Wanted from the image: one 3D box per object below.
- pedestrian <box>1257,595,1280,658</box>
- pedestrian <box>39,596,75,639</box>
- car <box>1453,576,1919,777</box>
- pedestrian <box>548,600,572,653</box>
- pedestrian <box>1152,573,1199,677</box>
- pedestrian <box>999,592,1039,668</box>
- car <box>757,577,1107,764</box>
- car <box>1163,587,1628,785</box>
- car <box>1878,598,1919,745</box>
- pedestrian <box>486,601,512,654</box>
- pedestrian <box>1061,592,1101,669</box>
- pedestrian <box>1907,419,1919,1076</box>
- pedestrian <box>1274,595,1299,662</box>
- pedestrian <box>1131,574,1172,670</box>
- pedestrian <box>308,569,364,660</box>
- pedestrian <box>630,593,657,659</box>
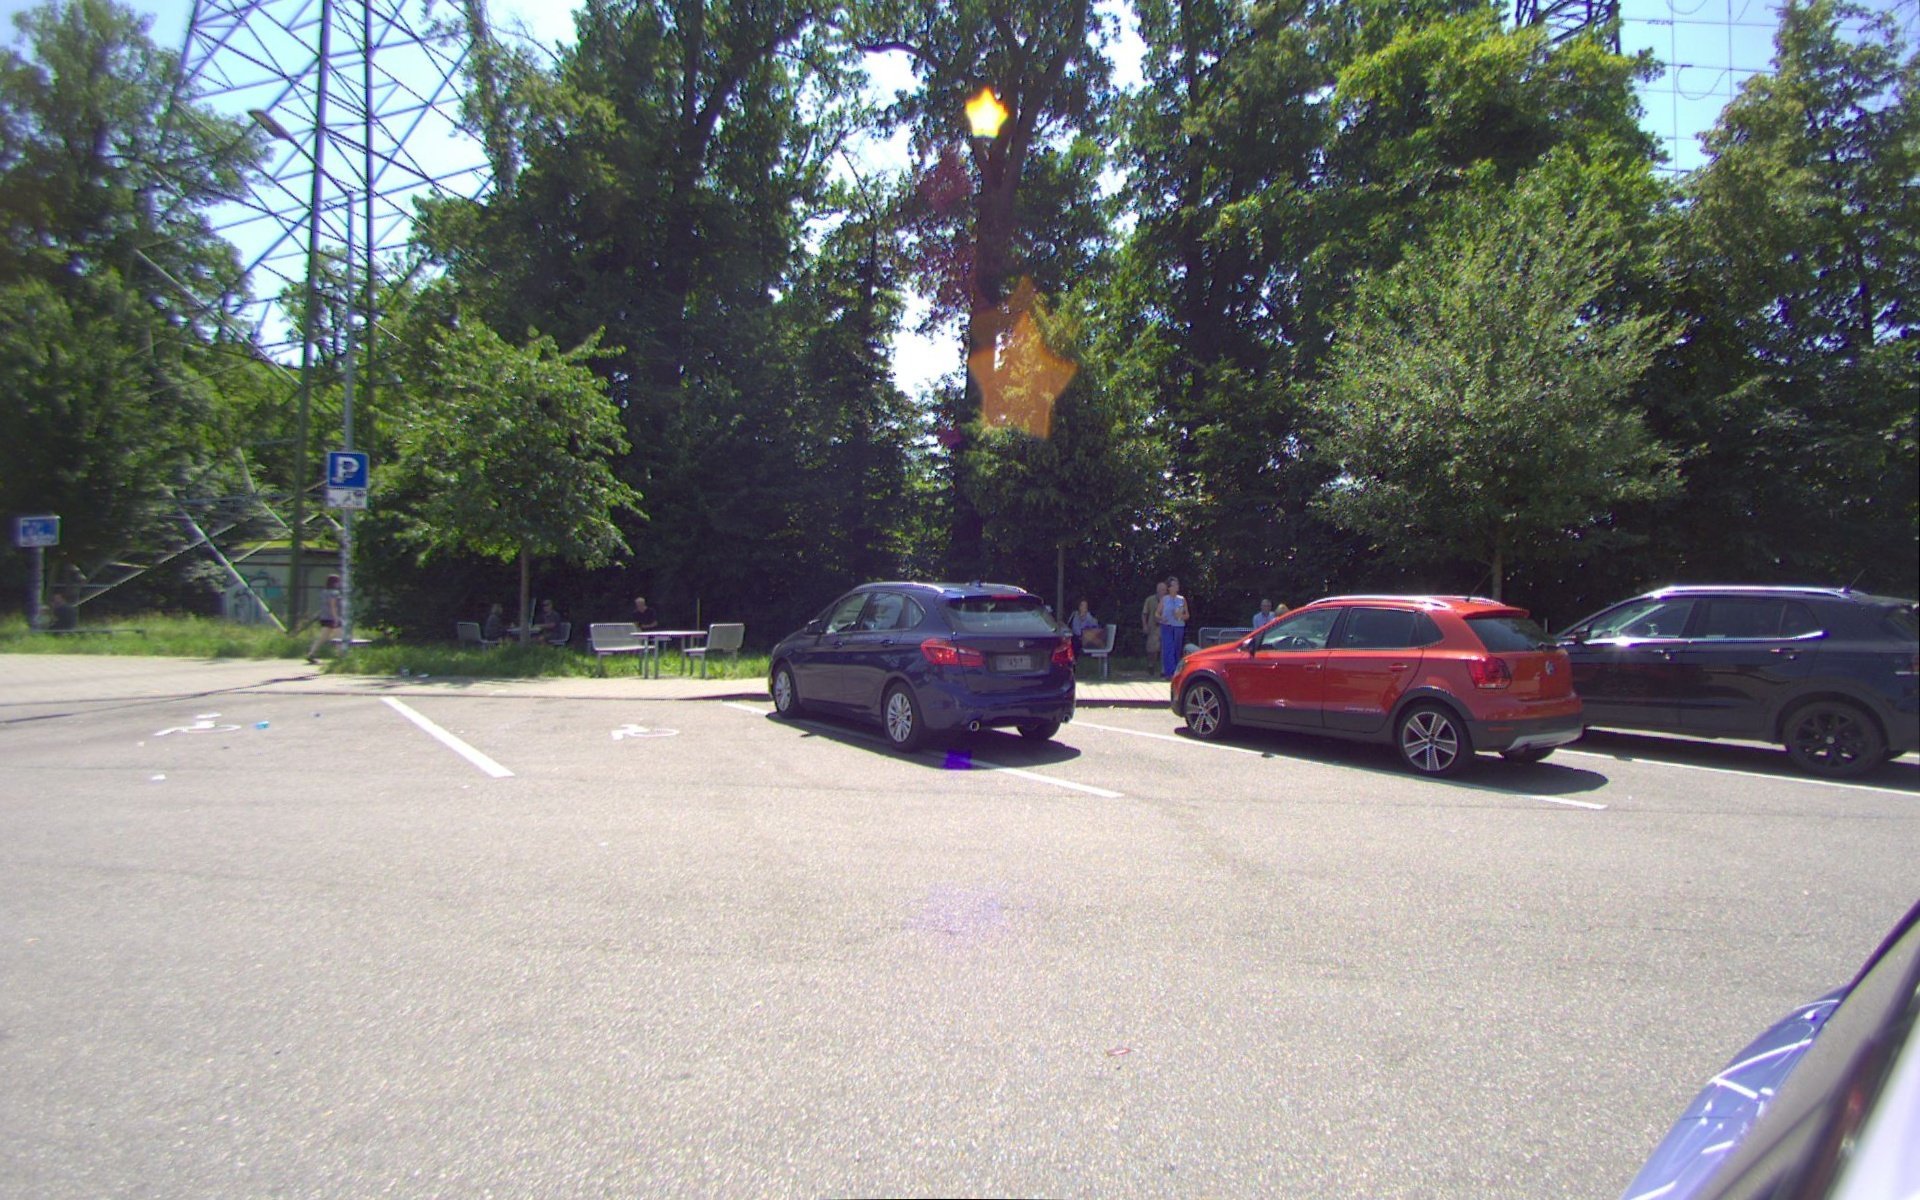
[{"bbox_3d":[5.832,0.490,19.131,0.350,1.180,0.384,0,0,8],"label":"pedestrian"},{"bbox_3d":[-20.938,0.395,23.467,0.452,0.987,0.447,0,0,-2],"label":"pedestrian"},{"bbox_3d":[7.108,0.590,9.870,1.620,1.575,3.826,0,0,-37],"label":"car"},{"bbox_3d":[-9.331,0.612,23.606,0.452,1.209,0.447,0,0,-34],"label":"pedestrian"},{"bbox_3d":[3.416,0.388,16.074,0.636,1.625,0.571,0,0,5],"label":"pedestrian"},{"bbox_3d":[1.002,0.494,17.118,0.586,1.261,0.445,0,0,16],"label":"pedestrian"},{"bbox_3d":[-0.529,0.548,10.794,1.714,1.572,4.347,0,1,-33],"label":"car"},{"bbox_3d":[3.892,0.631,9.654,1.619,1.487,3.830,0,0,-33],"label":"car"},{"bbox_3d":[10.908,0.700,9.014,1.620,1.420,3.826,0,0,-37],"label":"car"},{"bbox_3d":[-10.420,0.612,22.865,0.452,1.182,0.447,0,0,-34],"label":"pedestrian"},{"bbox_3d":[2.015,0.491,16.862,0.586,1.261,0.498,0,0,16],"label":"pedestrian"},{"bbox_3d":[3.129,0.450,2.519,0.804,1.974,0.915,0,0,19],"label":"pedestrian"},{"bbox_3d":[5.783,0.501,17.955,0.350,1.180,0.384,0,0,8],"label":"pedestrian"},{"bbox_3d":[3.311,0.375,17.517,0.636,1.625,0.571,0,0,5],"label":"pedestrian"},{"bbox_3d":[-11.817,0.263,19.163,0.684,1.670,0.705,0,0,38],"label":"pedestrian"},{"bbox_3d":[-6.673,0.544,21.353,0.438,1.363,0.462,0,0,-5],"label":"pedestrian"}]
